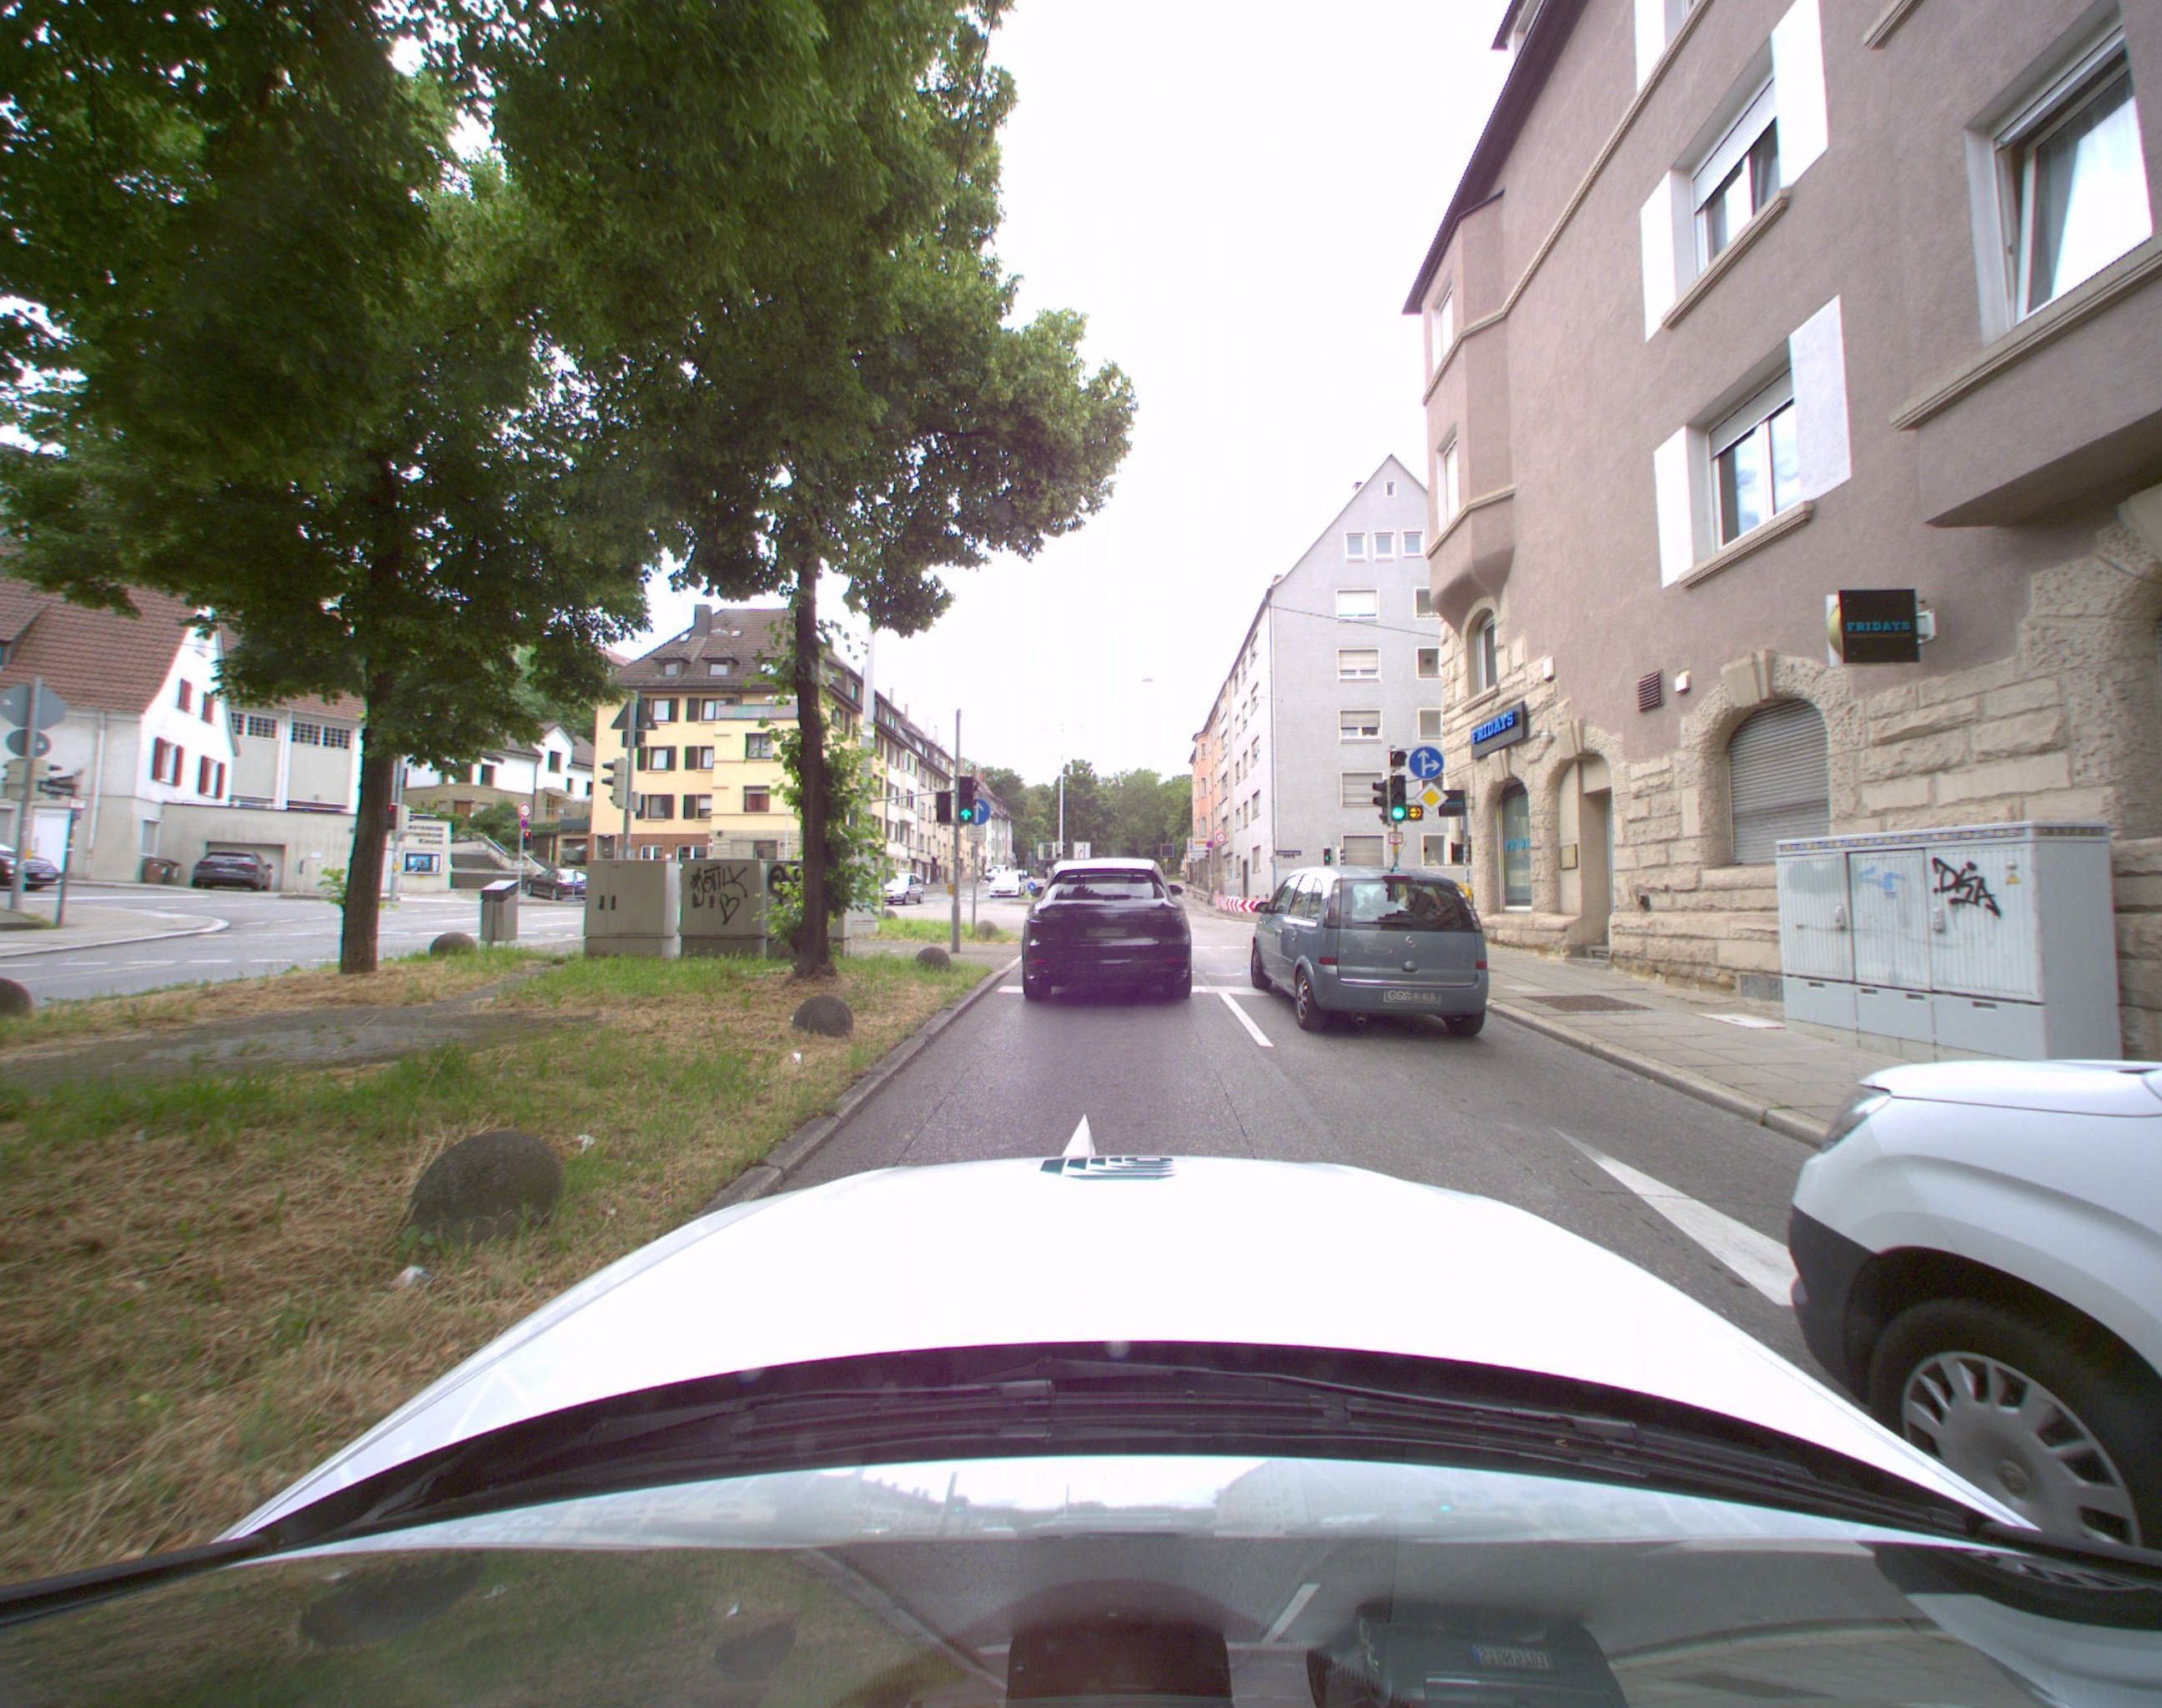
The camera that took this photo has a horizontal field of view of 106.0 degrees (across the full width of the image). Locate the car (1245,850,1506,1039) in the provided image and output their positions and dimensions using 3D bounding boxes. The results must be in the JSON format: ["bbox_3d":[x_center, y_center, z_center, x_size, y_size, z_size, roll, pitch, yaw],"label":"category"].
[{"bbox_3d":[2.970,0.835,9.017,1.622,1.598,3.670,2,-1,2],"label":"car"}]

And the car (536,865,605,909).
[{"bbox_3d":[-23.544,1.475,37.516,3.476,1.596,1.881,6,3,44],"label":"car"}]

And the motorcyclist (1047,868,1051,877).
[{"bbox_3d":[-4.407,2.470,111.060,0.510,1.226,0.467,0,-2,2],"label":"motorcyclist"}]

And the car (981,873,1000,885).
[{"bbox_3d":[-10.891,2.941,97.876,1.732,1.387,3.815,0,-1,2],"label":"car"}]

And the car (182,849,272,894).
[{"bbox_3d":[-32.043,0.646,30.552,3.018,1.406,1.681,2,-5,33],"label":"car"}]

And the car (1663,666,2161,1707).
[{"bbox_3d":[2.836,0.579,0.251,1.969,1.776,4.676,3,-1,0],"label":"car"}]

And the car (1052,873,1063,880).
[{"bbox_3d":[-3.907,3.756,136.355,1.545,1.257,3.664,0,-1,2],"label":"car"}]

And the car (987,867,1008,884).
[{"bbox_3d":[-10.581,2.734,103.502,2.008,2.046,4.668,0,-1,2],"label":"car"}]

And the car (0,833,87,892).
[{"bbox_3d":[-29.104,0.119,21.092,3.719,1.443,1.746,6,-4,-25],"label":"car"}]

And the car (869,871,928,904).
[{"bbox_3d":[-8.566,1.574,38.586,1.611,1.480,3.828,-1,-2,5],"label":"car"}]

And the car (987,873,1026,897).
[{"bbox_3d":[-4.482,1.830,49.494,1.854,1.388,4.096,0,-1,2],"label":"car"}]

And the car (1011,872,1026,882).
[{"bbox_3d":[-9.492,3.482,123.858,1.682,1.538,3.815,0,-1,2],"label":"car"}]

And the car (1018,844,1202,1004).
[{"bbox_3d":[0.372,0.794,10.751,1.948,1.674,4.001,-1,-1,2],"label":"car"}]

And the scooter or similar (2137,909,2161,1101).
[{"bbox_3d":[6.464,0.861,4.077,0.524,1.104,1.424,-1,-1,4],"label":"scooter or similar"}]

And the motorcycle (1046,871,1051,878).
[{"bbox_3d":[-4.404,2.793,111.054,0.509,1.040,1.389,0,-1,2],"label":"motorcycle"}]
